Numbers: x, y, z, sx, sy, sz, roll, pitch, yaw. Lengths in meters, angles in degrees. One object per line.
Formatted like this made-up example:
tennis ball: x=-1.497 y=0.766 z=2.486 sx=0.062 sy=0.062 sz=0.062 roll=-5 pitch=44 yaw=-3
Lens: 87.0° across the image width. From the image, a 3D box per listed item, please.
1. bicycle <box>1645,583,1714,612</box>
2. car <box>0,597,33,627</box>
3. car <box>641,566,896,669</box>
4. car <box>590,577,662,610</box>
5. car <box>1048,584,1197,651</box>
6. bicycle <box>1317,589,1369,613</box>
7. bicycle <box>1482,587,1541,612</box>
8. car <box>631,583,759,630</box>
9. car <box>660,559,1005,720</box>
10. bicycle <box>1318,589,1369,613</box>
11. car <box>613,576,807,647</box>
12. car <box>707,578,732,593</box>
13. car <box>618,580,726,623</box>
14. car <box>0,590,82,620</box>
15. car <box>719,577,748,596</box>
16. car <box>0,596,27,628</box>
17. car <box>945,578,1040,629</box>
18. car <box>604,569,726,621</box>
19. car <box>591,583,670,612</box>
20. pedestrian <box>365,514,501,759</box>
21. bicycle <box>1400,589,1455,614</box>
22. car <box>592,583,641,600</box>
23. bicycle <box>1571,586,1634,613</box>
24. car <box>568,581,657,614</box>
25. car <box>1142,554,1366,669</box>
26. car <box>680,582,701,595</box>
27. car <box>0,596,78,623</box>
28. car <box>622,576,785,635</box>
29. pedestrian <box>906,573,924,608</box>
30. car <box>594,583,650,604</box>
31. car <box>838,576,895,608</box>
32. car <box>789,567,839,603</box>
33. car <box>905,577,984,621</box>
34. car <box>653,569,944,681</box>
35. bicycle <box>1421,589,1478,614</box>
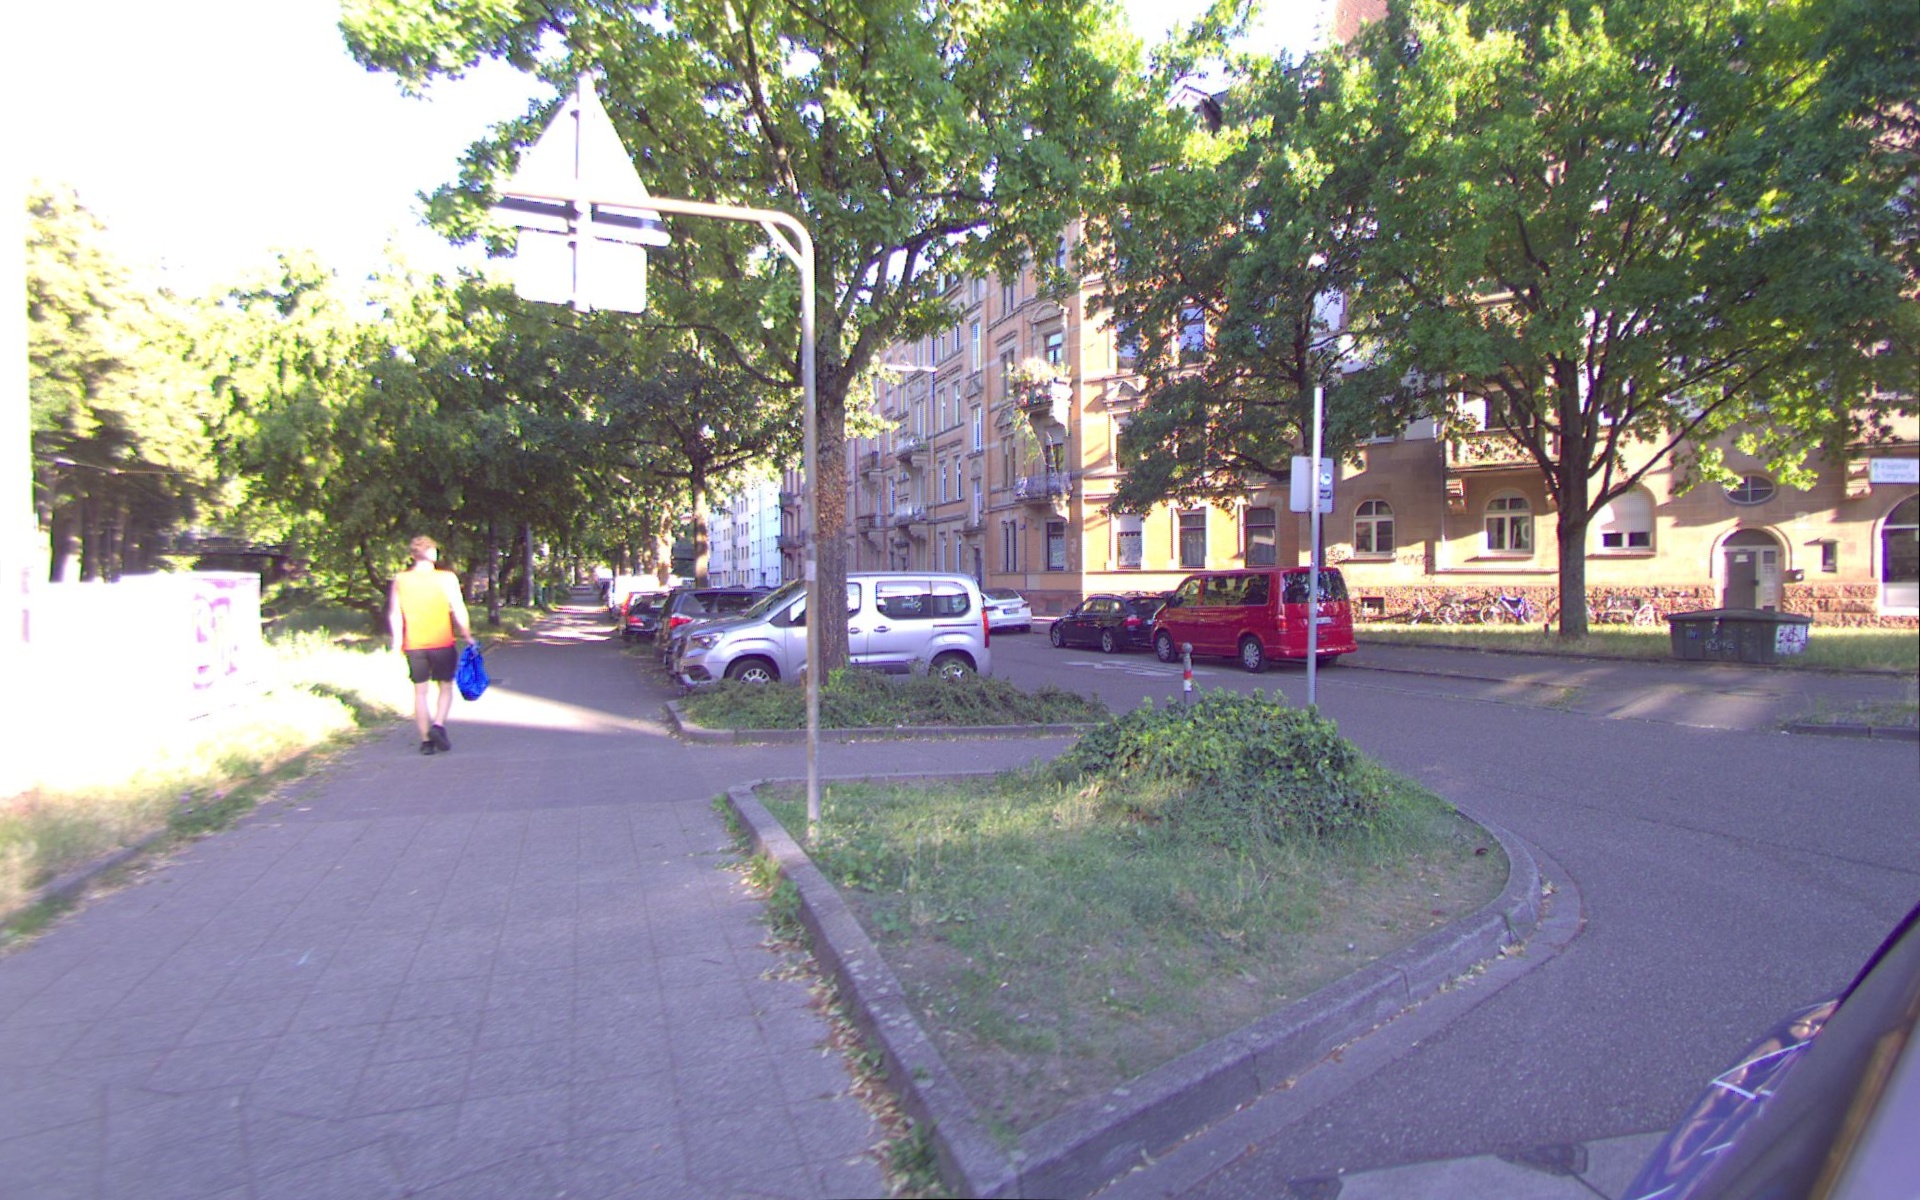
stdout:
bicycle: x=19.591 y=-0.054 z=27.599 sx=1.500 sy=0.741 sz=0.364 roll=-2 pitch=0 yaw=35
car: x=-43.451 y=0.515 z=44.461 sx=3.925 sy=1.295 sz=1.748 roll=0 pitch=1 yaw=1
car: x=-3.607 y=0.245 z=19.126 sx=4.359 sy=1.712 sz=1.954 roll=-2 pitch=2 yaw=-26
car: x=-19.381 y=-0.407 z=58.777 sx=3.916 sy=1.855 sz=1.688 roll=-1 pitch=1 yaw=-20
car: x=3.979 y=0.370 z=25.593 sx=1.745 sy=1.451 sz=4.279 roll=-3 pitch=2 yaw=-21
bicycle: x=12.247 y=0.016 z=32.351 sx=1.500 sy=0.741 sz=0.410 roll=0 pitch=1 yaw=35
bicycle: x=16.248 y=-0.016 z=29.833 sx=1.500 sy=0.741 sz=0.364 roll=0 pitch=1 yaw=35
car: x=-8.686 y=0.180 z=33.189 sx=3.916 sy=1.479 sz=1.688 roll=-1 pitch=1 yaw=-20
car: x=-1.813 y=0.429 z=14.076 sx=4.458 sy=1.938 sz=1.955 roll=-1 pitch=2 yaw=-18
bicycle: x=12.392 y=0.023 z=32.744 sx=1.500 sy=0.741 sz=0.364 roll=0 pitch=1 yaw=35
car: x=-6.359 y=0.233 z=25.726 sx=4.617 sy=1.591 sz=2.005 roll=-1 pitch=2 yaw=-18
car: x=-24.030 y=-1.448 z=100.962 sx=1.843 sy=1.459 sz=4.402 roll=-3 pitch=2 yaw=-20
car: x=-11.406 y=0.027 z=40.057 sx=3.916 sy=1.600 sz=1.769 roll=-1 pitch=1 yaw=-22
car: x=-56.168 y=0.292 z=61.445 sx=3.916 sy=1.789 sz=1.752 roll=0 pitch=1 yaw=-13
car: x=-20.530 y=-1.241 z=91.600 sx=1.843 sy=1.588 sz=4.402 roll=-3 pitch=2 yaw=-20
car: x=-41.495 y=0.518 z=42.046 sx=3.925 sy=1.295 sz=1.748 roll=0 pitch=1 yaw=1
car: x=1.007 y=0.063 z=33.875 sx=1.745 sy=1.493 sz=4.280 roll=-3 pitch=2 yaw=-18
car: x=-12.397 y=-0.243 z=42.494 sx=4.758 sy=2.063 sz=2.160 roll=-1 pitch=1 yaw=-20
car: x=-17.480 y=-0.145 z=53.752 sx=3.916 sy=1.507 sz=1.688 roll=-1 pitch=1 yaw=-20
pedestrian: x=-4.496 y=0.278 z=8.729 sx=0.886 sy=1.942 sz=1.152 roll=0 pitch=0 yaw=-20
bicycle: x=14.382 y=0.034 z=31.149 sx=1.500 sy=0.741 sz=0.364 roll=0 pitch=1 yaw=35
car: x=-30.087 y=-0.751 z=88.591 sx=4.047 sy=1.507 sz=1.688 roll=-1 pitch=1 yaw=-20
bicycle: x=18.219 y=-0.017 z=28.707 sx=1.500 sy=0.741 sz=0.364 roll=0 pitch=1 yaw=35
car: x=-16.572 y=-0.141 z=48.329 sx=3.916 sy=1.507 sz=1.688 roll=-1 pitch=1 yaw=-20
car: x=5.721 y=0.152 z=20.421 sx=1.745 sy=1.957 sz=4.782 roll=-3 pitch=2 yaw=-21
car: x=-30.687 y=-1.319 z=115.283 sx=1.843 sy=1.459 sz=4.402 roll=-3 pitch=2 yaw=-20
car: x=-47.777 y=0.474 z=51.723 sx=3.925 sy=1.295 sz=1.748 roll=0 pitch=1 yaw=1
car: x=-7.762 y=0.119 z=30.635 sx=4.617 sy=1.591 sz=2.005 roll=-1 pitch=2 yaw=-18
pedestrian: x=-2.295 y=-0.484 z=51.808 sx=0.661 sy=1.739 sz=0.724 roll=-3 pitch=2 yaw=-19
car: x=-25.093 y=-0.485 z=75.065 sx=3.916 sy=1.507 sz=1.688 roll=-1 pitch=1 yaw=-20
car: x=-4.600 y=-0.418 z=49.233 sx=1.732 sy=1.400 sz=4.299 roll=-3 pitch=2 yaw=-19
car: x=-8.575 y=-0.874 z=59.186 sx=1.874 sy=1.906 sz=4.735 roll=-3 pitch=2 yaw=-20
car: x=-0.643 y=-0.080 z=38.580 sx=1.654 sy=1.493 sz=3.890 roll=-3 pitch=2 yaw=-22
car: x=-2.683 y=0.321 z=16.602 sx=4.458 sy=1.591 sz=1.955 roll=-1 pitch=2 yaw=-18
bicycle: x=14.721 y=0.045 z=30.444 sx=1.500 sy=0.741 sz=0.364 roll=0 pitch=1 yaw=35
